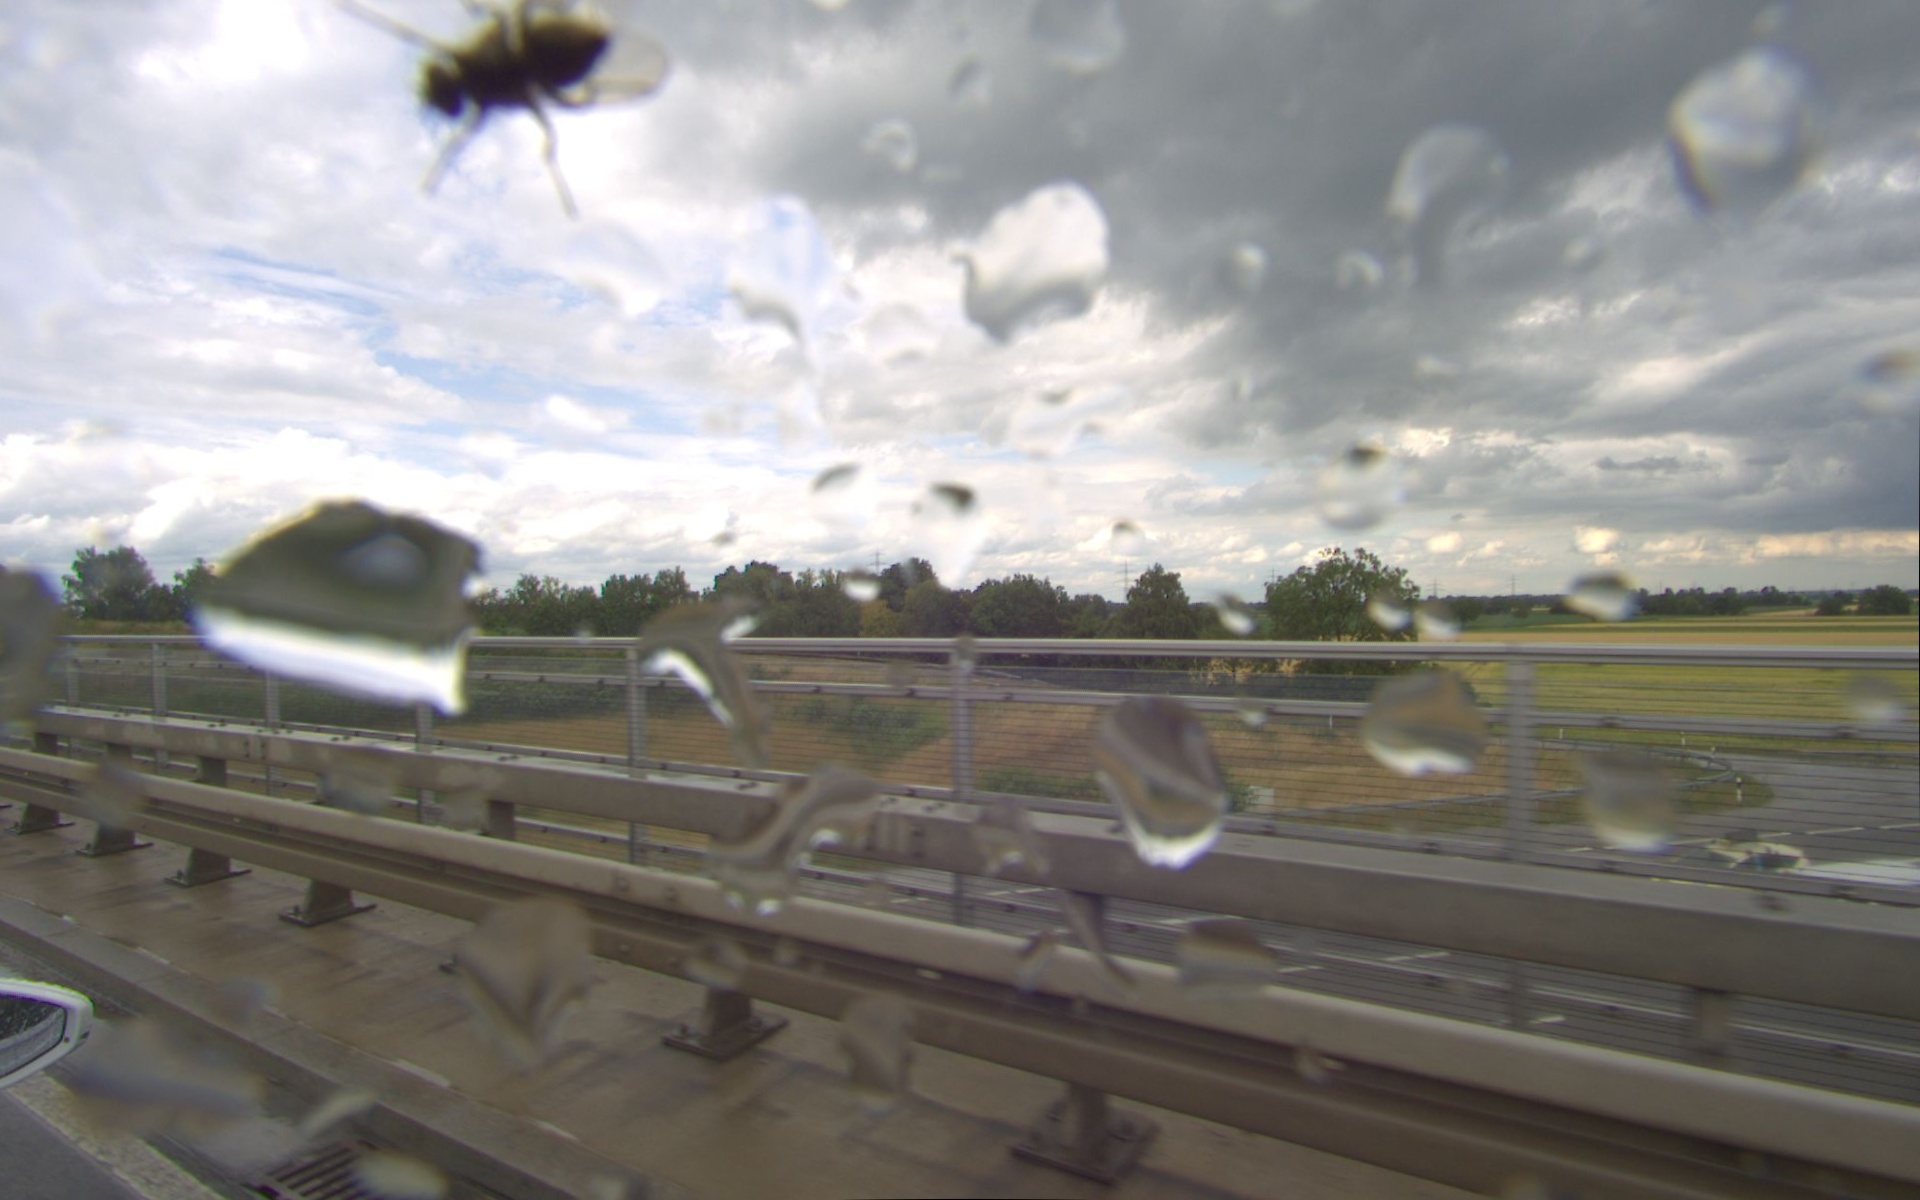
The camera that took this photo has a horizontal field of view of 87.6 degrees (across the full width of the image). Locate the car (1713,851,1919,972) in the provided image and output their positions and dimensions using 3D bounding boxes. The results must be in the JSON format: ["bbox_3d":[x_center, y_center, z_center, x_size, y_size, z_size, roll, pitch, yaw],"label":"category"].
[{"bbox_3d":[22.411,7.841,25.479,5.451,2.249,1.999,0,-2,-10],"label":"car"}]

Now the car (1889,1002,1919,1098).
[{"bbox_3d":[19.841,8.316,18.248,4.635,1.504,1.814,0,-2,-10],"label":"car"}]

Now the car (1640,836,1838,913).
[{"bbox_3d":[22.870,8.034,29.472,4.634,1.690,1.815,0,-2,-7],"label":"car"}]
